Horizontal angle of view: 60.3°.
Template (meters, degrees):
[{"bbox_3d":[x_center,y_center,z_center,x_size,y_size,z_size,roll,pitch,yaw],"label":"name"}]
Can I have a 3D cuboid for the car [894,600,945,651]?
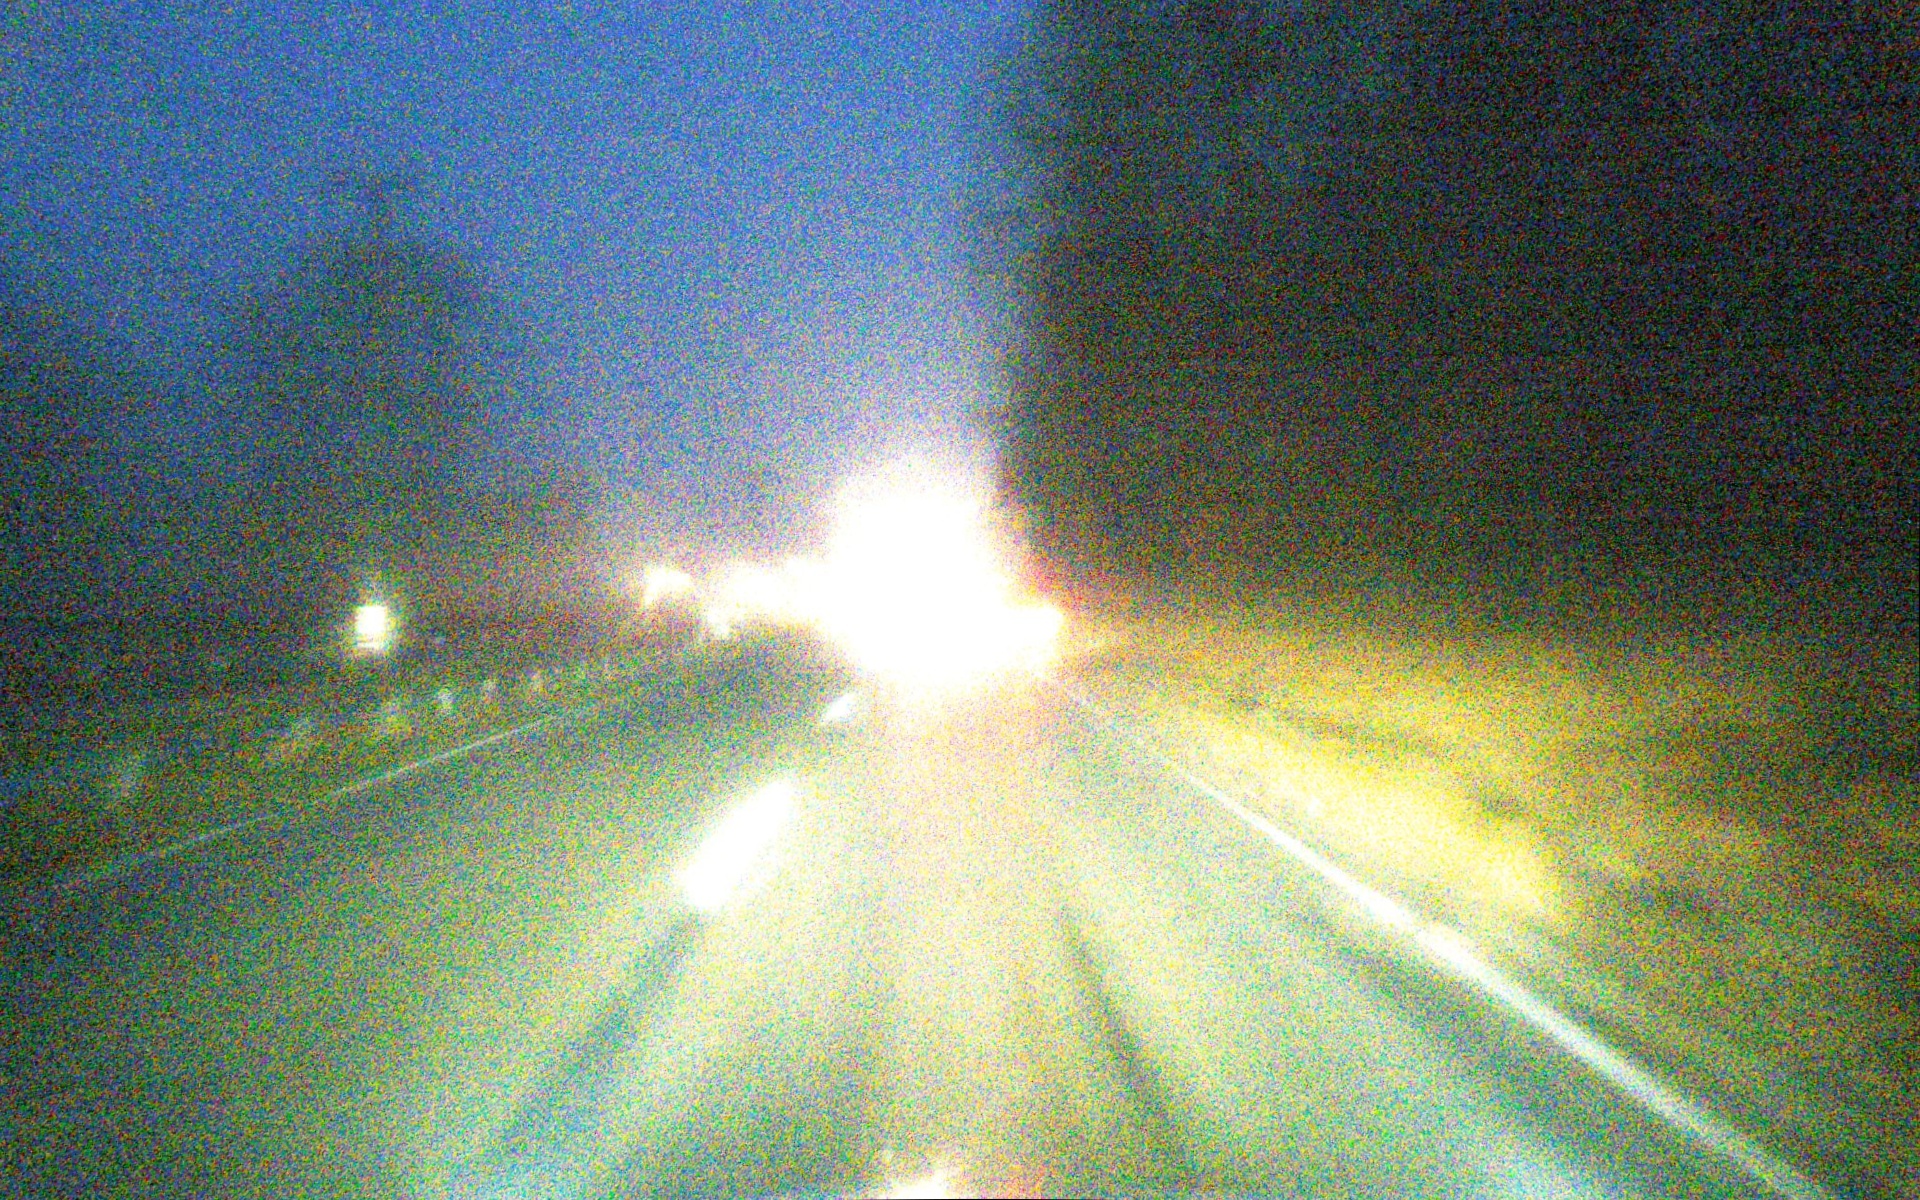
[{"bbox_3d":[-1.740,1.066,70.474,1.954,2.049,3.997,-2,0,-4],"label":"car"}]

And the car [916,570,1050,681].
[{"bbox_3d":[0.419,0.504,32.702,2.407,1.993,4.911,-1,-1,0],"label":"car"}]
